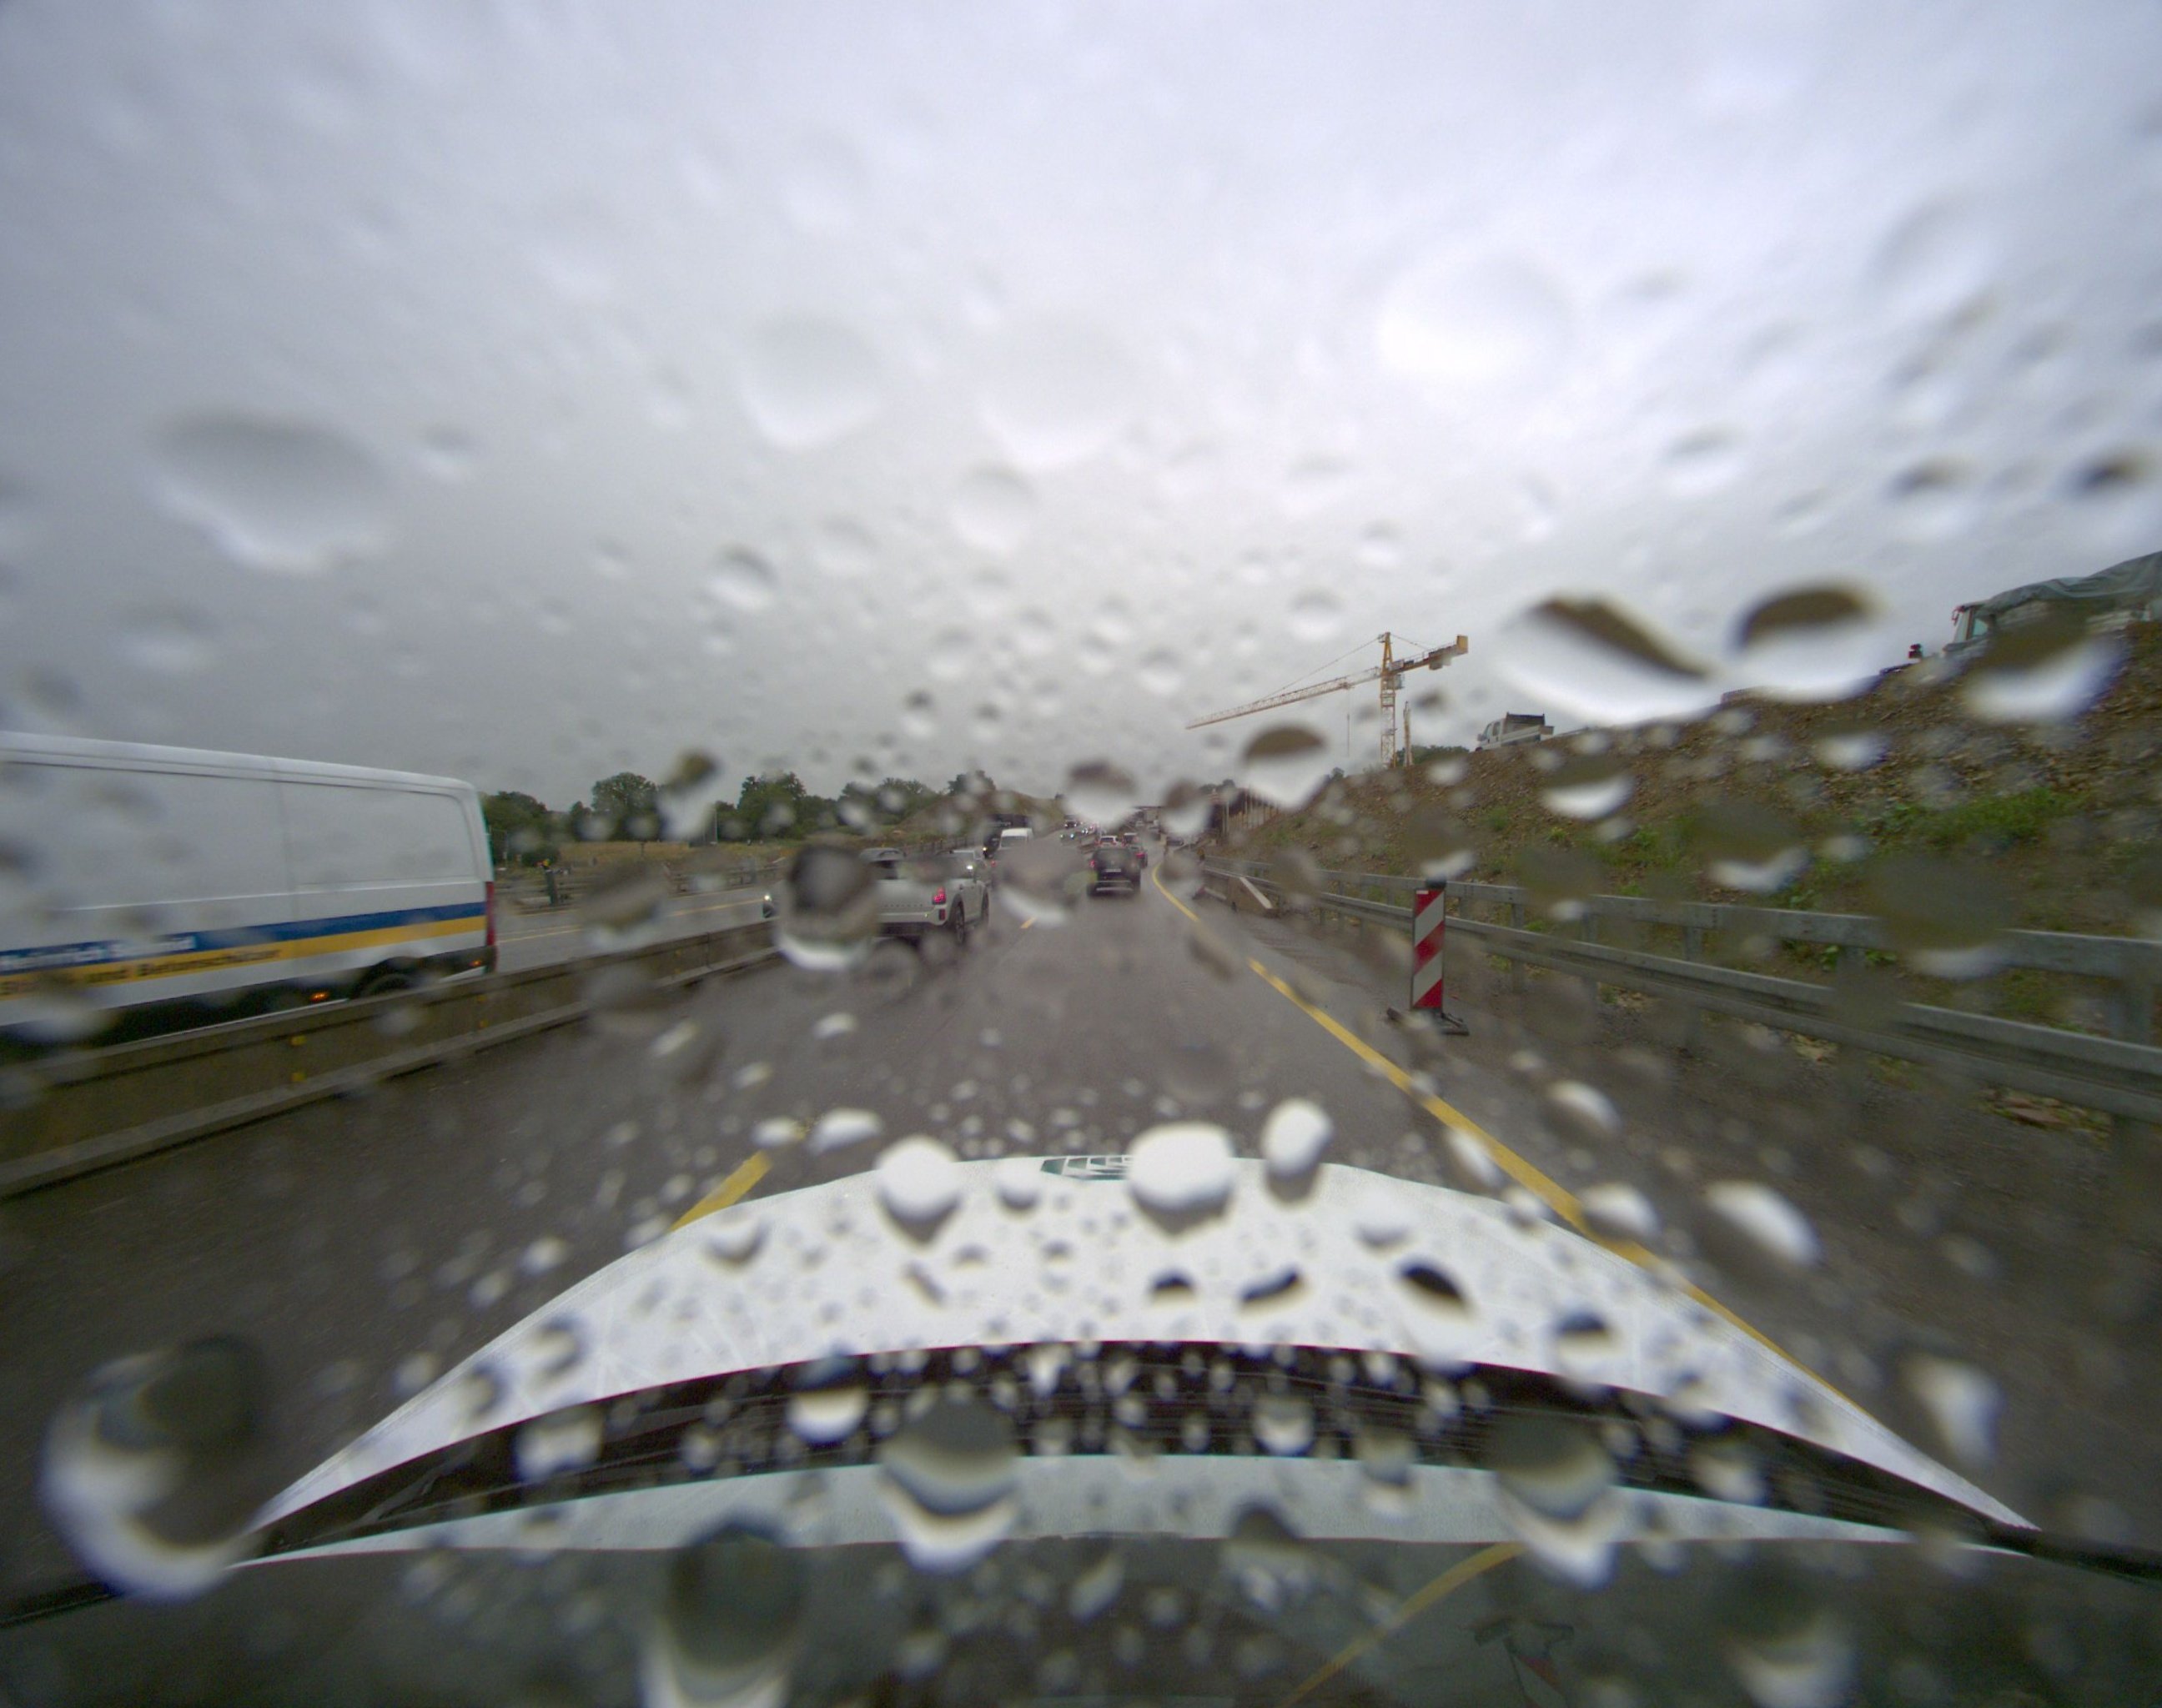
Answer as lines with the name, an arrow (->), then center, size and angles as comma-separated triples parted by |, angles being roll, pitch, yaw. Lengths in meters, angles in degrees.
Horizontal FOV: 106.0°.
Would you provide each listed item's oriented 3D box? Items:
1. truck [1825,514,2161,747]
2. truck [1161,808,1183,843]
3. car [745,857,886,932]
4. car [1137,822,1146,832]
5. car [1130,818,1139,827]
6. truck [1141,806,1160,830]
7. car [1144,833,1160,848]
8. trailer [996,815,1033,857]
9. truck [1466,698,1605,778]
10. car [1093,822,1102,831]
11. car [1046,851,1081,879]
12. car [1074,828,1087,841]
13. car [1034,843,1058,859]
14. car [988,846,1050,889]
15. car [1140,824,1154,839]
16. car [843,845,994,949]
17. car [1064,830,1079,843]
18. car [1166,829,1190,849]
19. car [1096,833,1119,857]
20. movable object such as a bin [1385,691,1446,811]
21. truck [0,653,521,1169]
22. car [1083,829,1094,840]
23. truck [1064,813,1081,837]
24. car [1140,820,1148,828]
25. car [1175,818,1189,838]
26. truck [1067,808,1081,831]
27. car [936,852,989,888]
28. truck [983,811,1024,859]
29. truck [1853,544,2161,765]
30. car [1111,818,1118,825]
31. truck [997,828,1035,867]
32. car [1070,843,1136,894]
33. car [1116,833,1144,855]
truck -> 19.790, -4.186, 15.551 | 3.380, 2.875, 8.968 | -1, -1, 4
truck -> 15.331, -4.703, 136.977 | 3.083, 5.426, 9.468 | -1, -1, 10
car -> -6.120, 0.870, 19.358 | 1.780, 1.538, 4.313 | -1, 0, 2
car -> 13.305, -6.018, 180.198 | 1.842, 1.894, 4.024 | -1, -1, 3
car -> 13.095, -7.564, 198.365 | 1.986, 2.013, 4.002 | -2, 0, 2
truck -> 16.758, -8.627, 197.051 | 3.790, 5.043, 12.924 | -1, -1, 1
car -> 9.297, -1.784, 106.858 | 1.986, 1.761, 3.816 | -1, -1, 2
trailer -> -6.683, -1.872, 82.705 | 2.736, 3.970, 9.677 | -1, 1, 1
truck -> 20.680, -5.194, 37.624 | 2.636, 2.555, 6.986 | -1, -1, 1
car -> 4.444, -7.393, 220.950 | 2.229, 2.358, 4.881 | 0, 1, 3
car -> -1.036, 0.708, 49.672 | 1.987, 1.600, 4.140 | -1, -1, 1
car -> -0.048, -3.067, 128.495 | 1.778, 1.810, 4.501 | -1, -1, 2
car -> -3.228, -0.304, 75.603 | 1.862, 1.471, 4.672 | -1, 1, 1
car -> -2.411, 0.538, 32.741 | 1.985, 1.600, 4.143 | -1, -1, 3
car -> 10.685, -3.625, 131.416 | 1.983, 2.163, 4.148 | -1, -1, 7
car -> -2.786, 0.698, 14.978 | 1.809, 1.600, 4.308 | -1, -1, 1
car -> -1.206, -2.334, 108.708 | 1.731, 1.684, 5.555 | 0, 1, 2
car -> 10.900, -1.651, 91.390 | 1.978, 2.163, 4.157 | -1, -1, 16
car -> 2.311, -0.808, 71.653 | 1.986, 2.013, 3.895 | -1, 1, 1
movable object such as a bin -> 34.565, -10.306, 84.690 | 4.682, 10.843, 10.347 | -1, -1, 16
truck -> -6.422, 0.309, 4.722 | 2.071, 2.576, 5.963 | -1, -1, 2
car -> 1.399, -3.424, 142.739 | 1.778, 1.810, 4.501 | -1, -1, 2
truck -> -1.803, -6.238, 174.835 | 3.070, 4.919, 8.571 | 0, 1, 3
car -> 18.237, -8.772, 235.573 | 1.986, 2.014, 4.001 | -1, -1, 1
car -> 14.276, -3.635, 114.939 | 1.983, 2.484, 4.992 | -1, -1, 7
truck -> -1.738, -8.755, 207.287 | 3.129, 5.417, 8.530 | 0, 1, 3
car -> -5.367, 0.689, 37.360 | 1.670, 1.524, 4.346 | -1, 0, 2
truck -> -6.854, -1.704, 73.257 | 2.632, 3.970, 9.216 | -1, 1, 1
truck -> 24.281, -4.846, 21.365 | 2.364, 4.218, 5.980 | -1, -1, 1
car -> 10.329, -10.181, 253.010 | 1.986, 2.014, 4.001 | -1, -1, 2
truck -> -4.698, -0.479, 59.534 | 2.140, 2.713, 6.018 | -1, 0, 1
car -> 0.800, 0.517, 28.045 | 2.073, 1.600, 4.143 | -1, -1, 3
car -> 5.226, -1.057, 86.653 | 1.978, 2.163, 4.159 | -1, -1, 17
